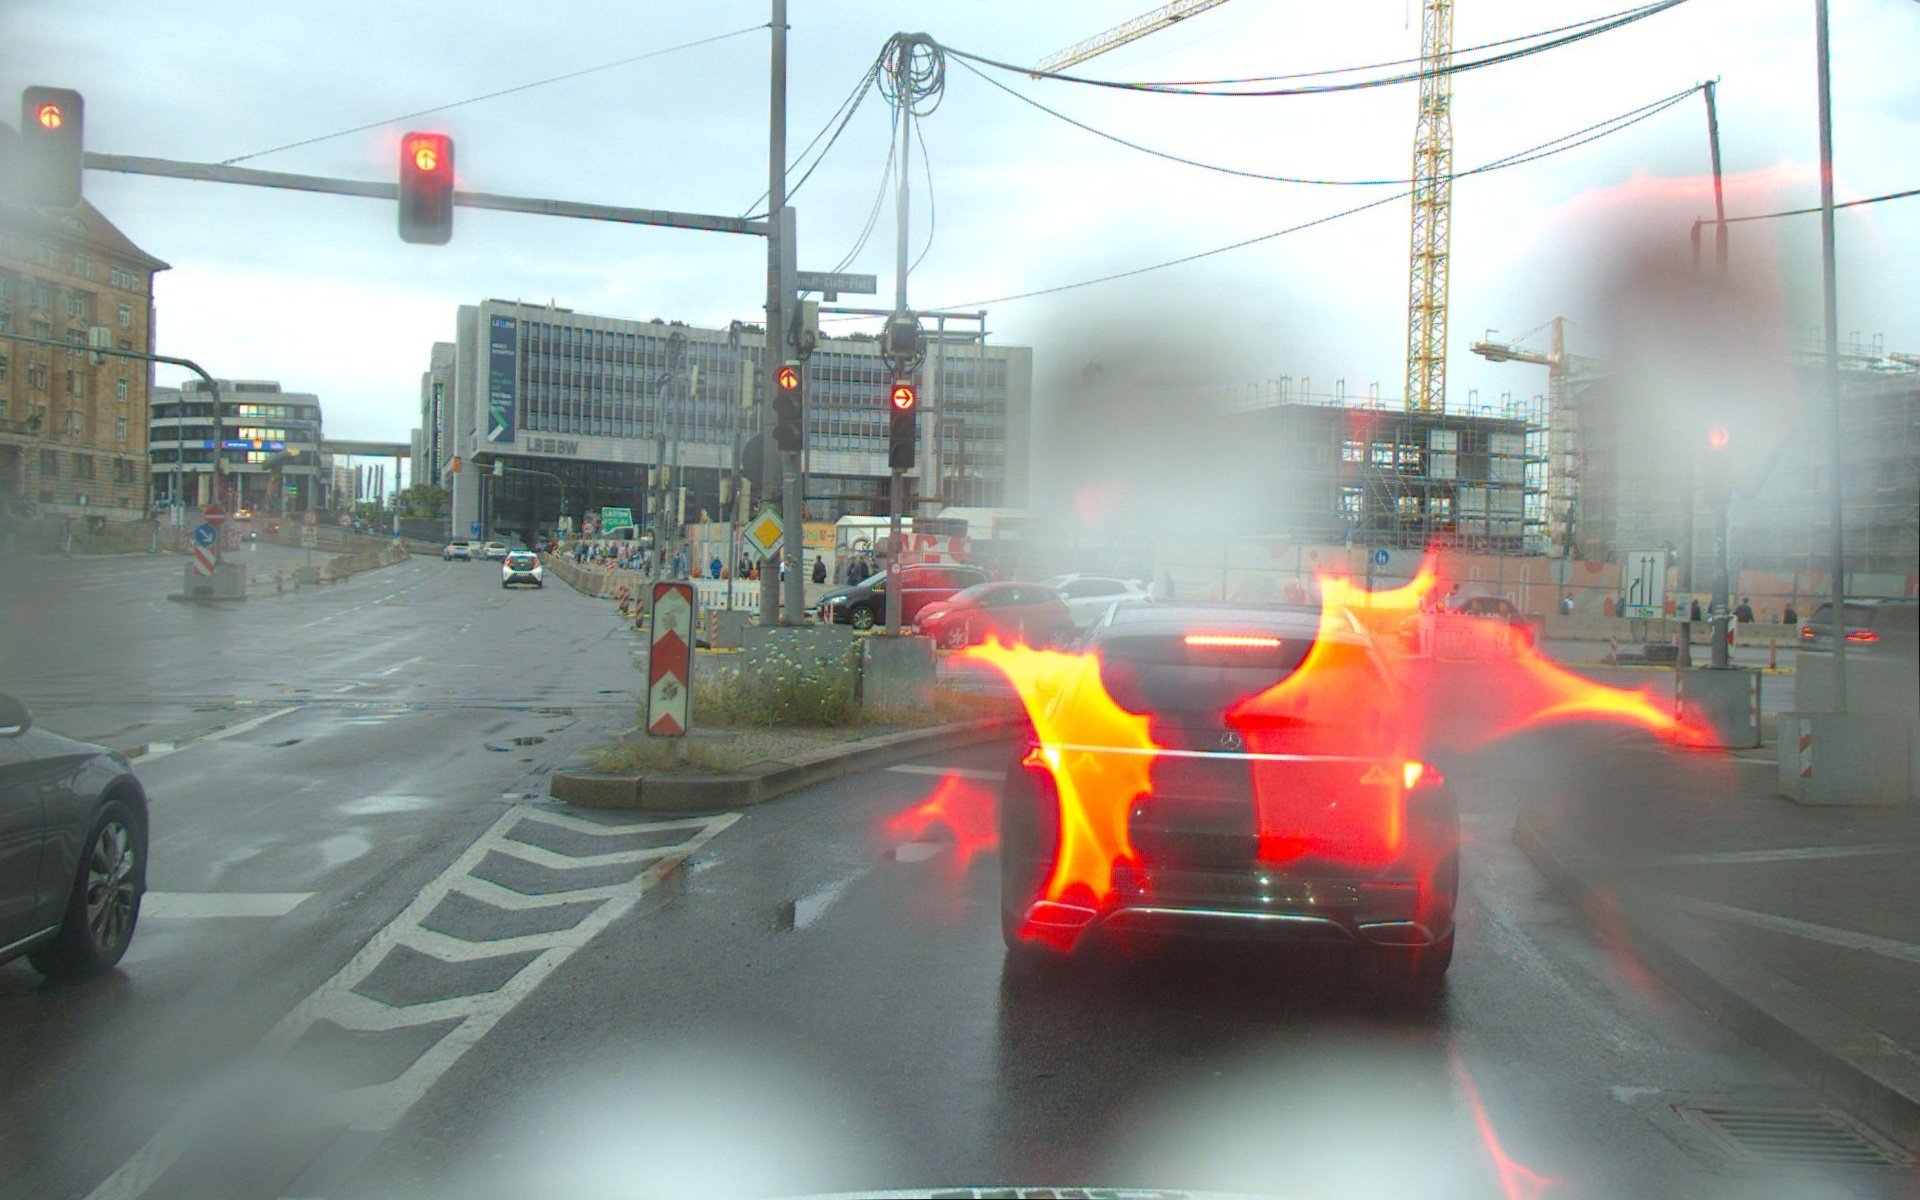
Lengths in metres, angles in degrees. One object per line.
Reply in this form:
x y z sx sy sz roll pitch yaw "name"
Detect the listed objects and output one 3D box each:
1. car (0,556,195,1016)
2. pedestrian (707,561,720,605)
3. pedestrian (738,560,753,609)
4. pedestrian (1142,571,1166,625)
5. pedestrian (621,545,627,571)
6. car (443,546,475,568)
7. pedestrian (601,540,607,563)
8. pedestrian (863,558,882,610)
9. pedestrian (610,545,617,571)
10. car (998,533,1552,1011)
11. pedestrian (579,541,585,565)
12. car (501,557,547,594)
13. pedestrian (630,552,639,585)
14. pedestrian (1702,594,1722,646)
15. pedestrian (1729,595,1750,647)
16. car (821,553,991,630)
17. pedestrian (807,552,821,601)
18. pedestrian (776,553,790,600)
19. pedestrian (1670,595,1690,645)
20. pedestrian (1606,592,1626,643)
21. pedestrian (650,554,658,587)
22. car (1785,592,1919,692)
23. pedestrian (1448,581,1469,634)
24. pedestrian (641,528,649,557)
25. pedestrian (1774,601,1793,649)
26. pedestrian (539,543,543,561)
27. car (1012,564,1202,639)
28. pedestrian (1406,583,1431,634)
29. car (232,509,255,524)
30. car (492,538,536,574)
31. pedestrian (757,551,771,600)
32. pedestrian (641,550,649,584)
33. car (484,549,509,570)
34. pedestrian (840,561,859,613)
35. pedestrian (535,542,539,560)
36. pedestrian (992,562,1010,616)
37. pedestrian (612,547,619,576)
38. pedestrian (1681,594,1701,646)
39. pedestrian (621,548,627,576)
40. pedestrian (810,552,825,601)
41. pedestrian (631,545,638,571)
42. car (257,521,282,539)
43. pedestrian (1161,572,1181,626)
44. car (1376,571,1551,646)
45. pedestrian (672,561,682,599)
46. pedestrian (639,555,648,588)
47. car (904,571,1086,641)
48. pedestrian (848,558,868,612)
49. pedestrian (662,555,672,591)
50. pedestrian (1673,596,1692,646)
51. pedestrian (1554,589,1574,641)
-3.750 0.542 4.405 1.749 1.427 4.479 2 -1 -7 "car"
-10.935 -0.771 73.390 0.356 1.931 0.572 2 -1 -22 "pedestrian"
-8.406 -0.604 64.914 0.357 1.931 0.571 3 -1 -27 "pedestrian"
7.088 -0.085 60.483 0.645 1.934 0.629 2 -1 -15 "pedestrian"
-25.761 -3.196 126.787 0.355 1.931 0.573 2 -1 -18 "pedestrian"
-41.732 -3.527 137.735 1.968 1.668 3.968 2 -1 -25 "car"
-29.370 -3.999 136.538 0.355 1.931 0.573 2 -1 -18 "pedestrian"
-3.230 -0.593 61.239 0.566 1.931 0.360 1 -1 42 "pedestrian"
-26.499 -3.192 126.495 0.355 1.931 0.573 2 -1 -18 "pedestrian"
1.237 0.612 7.721 1.851 1.571 3.995 2 -1 4 "car"
-31.632 -3.925 138.439 0.355 1.931 0.573 2 -1 -18 "pedestrian"
-19.213 -1.078 73.018 1.749 1.499 3.548 2 -1 -12 "car"
-19.441 -1.870 98.723 0.355 1.931 0.573 2 -1 -18 "pedestrian"
28.385 0.769 62.426 0.564 1.931 0.361 2 -1 -12 "pedestrian"
29.206 0.795 61.967 0.564 1.931 0.361 2 -1 -12 "pedestrian"
-1.396 -0.193 42.218 3.924 1.764 1.991 2 -1 -17 "car"
-5.806 -0.921 65.827 0.356 1.931 0.572 2 -1 -22 "pedestrian"
-7.224 -0.956 67.547 0.356 1.931 0.572 2 -1 -22 "pedestrian"
27.887 0.769 64.068 0.564 1.931 0.361 2 -1 -12 "pedestrian"
25.240 0.671 63.652 0.564 1.931 0.361 2 -1 -12 "pedestrian"
-18.013 -1.716 97.375 0.355 1.931 0.573 2 -1 -18 "pedestrian"
19.018 0.868 32.767 5.016 1.829 1.986 2 -1 -23 "car"
18.349 0.276 60.869 0.564 1.931 0.361 2 -1 -12 "pedestrian"
-21.096 -3.843 110.828 0.355 1.931 0.573 2 -1 -18 "pedestrian"
33.385 1.025 67.045 0.565 1.931 0.360 2 -1 -17 "pedestrian"
-45.591 -5.274 180.049 0.355 1.931 0.574 2 -1 -15 "pedestrian"
3.460 0.041 39.084 3.981 1.579 1.988 2 -1 -20 "car"
17.489 0.318 63.084 0.645 1.934 0.629 2 -1 -15 "pedestrian"
-99.139 -11.593 228.852 1.979 1.847 3.947 3 -1 -37 "car"
-25.138 -2.461 93.092 1.964 1.797 4.392 2 -1 -20 "car"
-7.947 -0.989 67.135 0.356 1.931 0.572 2 -1 -24 "pedestrian"
-18.505 -1.941 97.146 0.355 1.931 0.573 2 -1 -18 "pedestrian"
-40.310 -3.529 143.776 1.704 1.668 3.412 2 3 -23 "car"
-4.140 -0.482 62.005 0.562 1.931 0.362 2 -1 13 "pedestrian"
-46.060 -5.291 180.113 0.355 1.931 0.574 2 -1 -15 "pedestrian"
1.475 -0.397 59.215 0.563 1.931 0.362 2 -1 1 "pedestrian"
-23.381 -2.608 112.193 0.355 1.931 0.573 2 -1 -18 "pedestrian"
27.970 0.762 63.271 0.564 1.931 0.361 2 -1 -12 "pedestrian"
-22.851 -2.585 112.469 0.355 1.931 0.574 2 -1 -14 "pedestrian"
-5.652 -0.917 65.697 0.356 1.931 0.572 2 -1 -22 "pedestrian"
-23.791 -3.071 120.949 0.355 1.931 0.573 2 -1 -18 "pedestrian"
-84.818 -8.559 203.192 1.976 2.049 3.952 3 -1 -34 "car"
7.622 -0.048 59.792 0.564 1.931 0.361 2 -1 -12 "pedestrian"
13.084 0.231 43.040 3.925 1.738 1.990 2 -1 -19 "car"
-14.322 -0.998 83.577 0.355 1.931 0.573 2 -1 -18 "pedestrian"
-18.950 -1.689 98.967 0.355 1.931 0.573 2 -1 -18 "pedestrian"
0.737 0.134 35.073 3.481 1.327 1.656 2 -1 -20 "car"
-3.697 -0.538 60.067 0.563 1.931 0.362 2 -1 21 "pedestrian"
-15.846 -1.474 89.425 0.355 1.931 0.573 2 -1 -18 "pedestrian"
28.556 0.820 65.389 0.565 1.931 0.360 2 -1 -17 "pedestrian"
22.972 0.575 62.868 0.564 1.931 0.361 2 -1 -12 "pedestrian"
